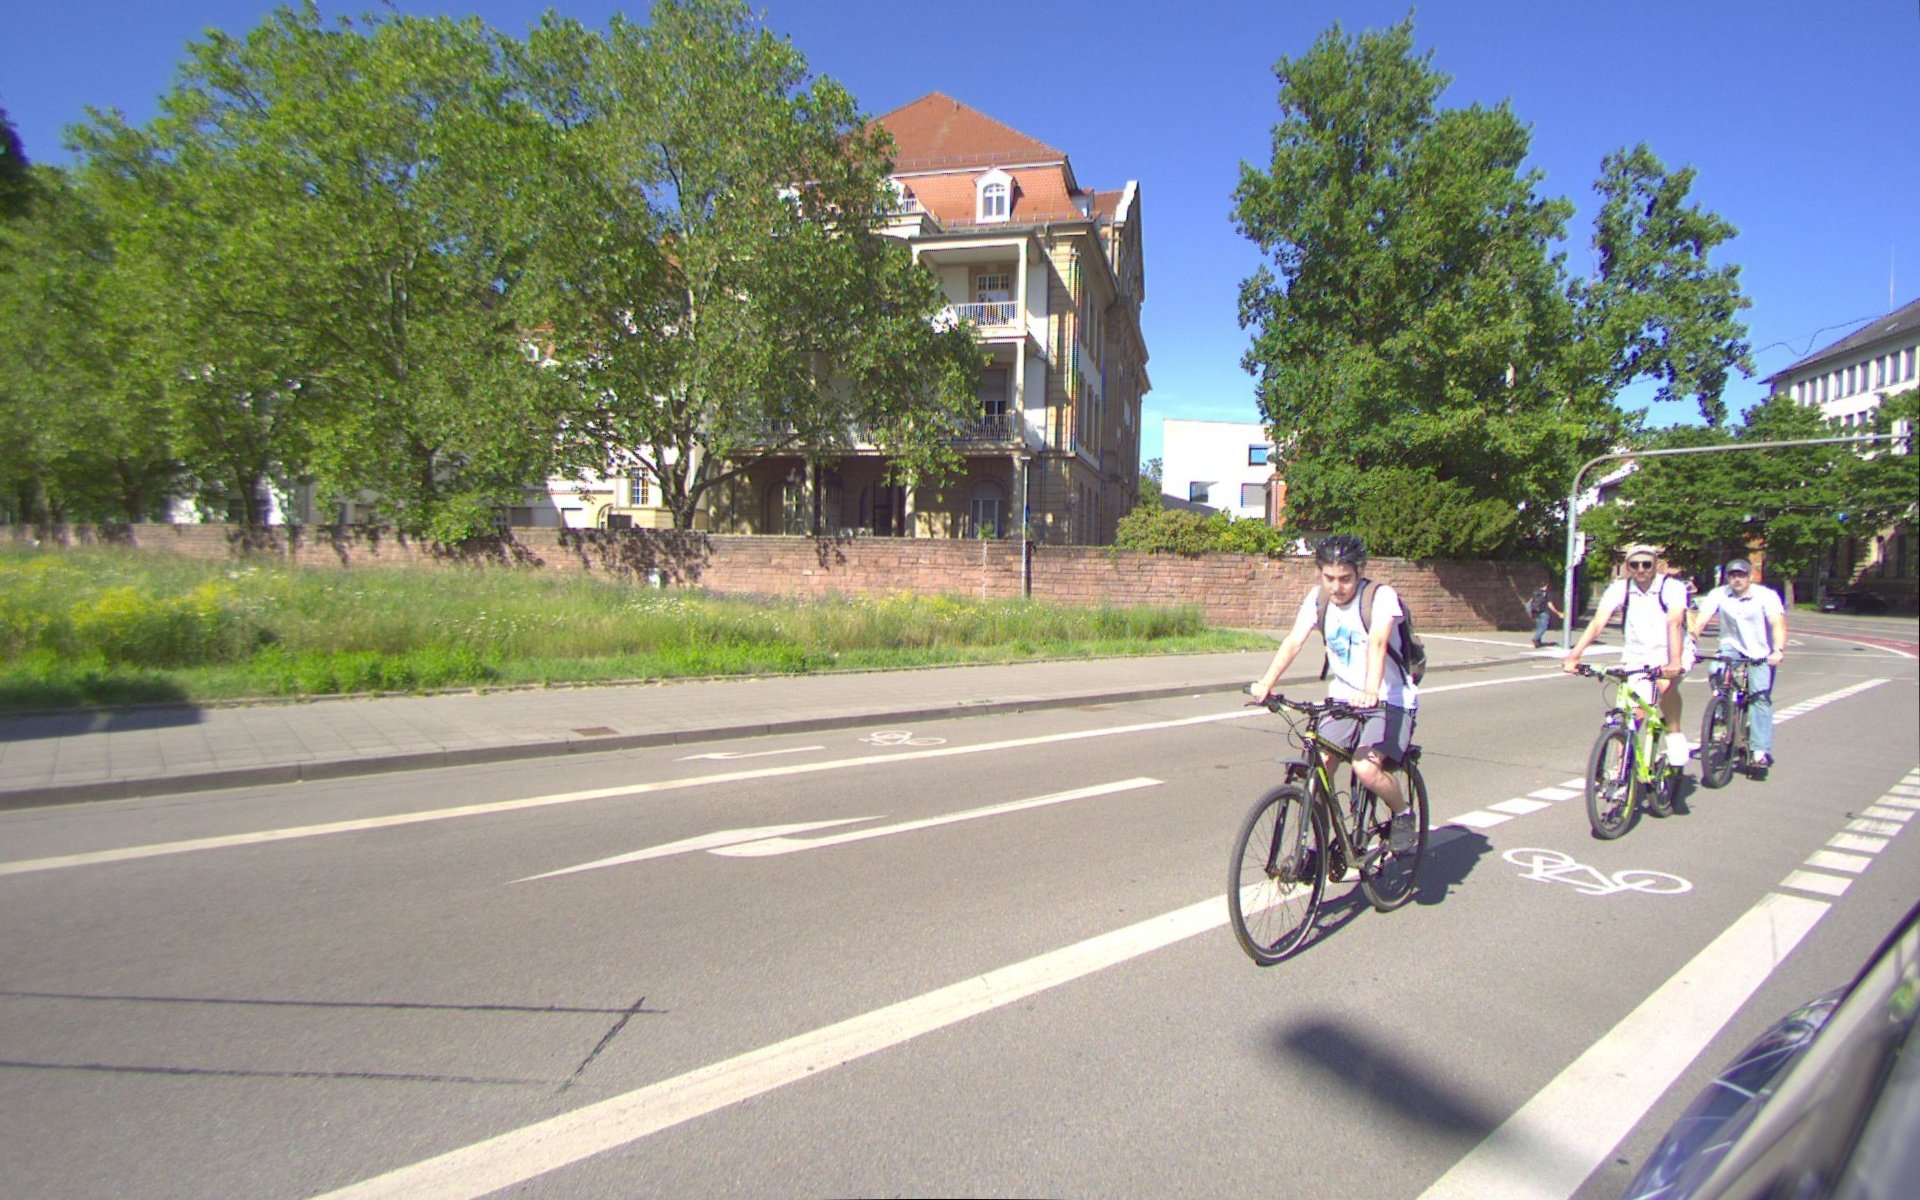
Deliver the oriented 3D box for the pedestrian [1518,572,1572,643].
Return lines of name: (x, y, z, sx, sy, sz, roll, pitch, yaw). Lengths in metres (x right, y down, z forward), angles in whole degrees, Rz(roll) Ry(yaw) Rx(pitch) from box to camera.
pedestrian: (16.101, 0.204, 27.861, 0.941, 1.872, 0.733, 1, 3, -17)

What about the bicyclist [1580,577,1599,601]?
bicyclist: (42.199, -0.761, 67.862, 0.860, 1.579, 1.271, 2, 2, 23)

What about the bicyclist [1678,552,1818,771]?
bicyclist: (6.533, 0.461, 8.390, 0.851, 1.695, 0.741, 0, 2, -42)

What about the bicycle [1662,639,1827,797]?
bicycle: (6.557, 0.909, 8.422, 1.870, 1.063, 0.749, 0, 2, -42)

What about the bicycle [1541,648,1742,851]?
bicycle: (4.500, 0.893, 6.632, 1.812, 1.064, 0.672, 0, 0, -42)

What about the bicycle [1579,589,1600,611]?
bicycle: (42.089, -0.013, 67.717, 0.754, 1.385, 2.717, 2, 2, 23)

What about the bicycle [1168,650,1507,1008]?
bicycle: (1.702, 0.849, 4.397, 1.795, 1.152, 0.616, 0, 1, -42)

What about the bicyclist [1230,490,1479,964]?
bicyclist: (1.735, 0.477, 4.431, 0.923, 1.808, 0.677, 0, 0, -42)

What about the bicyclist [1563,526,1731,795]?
bicyclist: (4.525, 0.356, 6.653, 1.062, 1.603, 0.675, 0, 0, -41)

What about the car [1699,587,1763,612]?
car: (51.474, -0.064, 67.644, 1.822, 1.504, 4.149, 2, 2, 14)

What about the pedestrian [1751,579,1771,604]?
pedestrian: (59.952, -0.669, 75.769, 0.745, 1.835, 0.978, 1, 1, 9)
